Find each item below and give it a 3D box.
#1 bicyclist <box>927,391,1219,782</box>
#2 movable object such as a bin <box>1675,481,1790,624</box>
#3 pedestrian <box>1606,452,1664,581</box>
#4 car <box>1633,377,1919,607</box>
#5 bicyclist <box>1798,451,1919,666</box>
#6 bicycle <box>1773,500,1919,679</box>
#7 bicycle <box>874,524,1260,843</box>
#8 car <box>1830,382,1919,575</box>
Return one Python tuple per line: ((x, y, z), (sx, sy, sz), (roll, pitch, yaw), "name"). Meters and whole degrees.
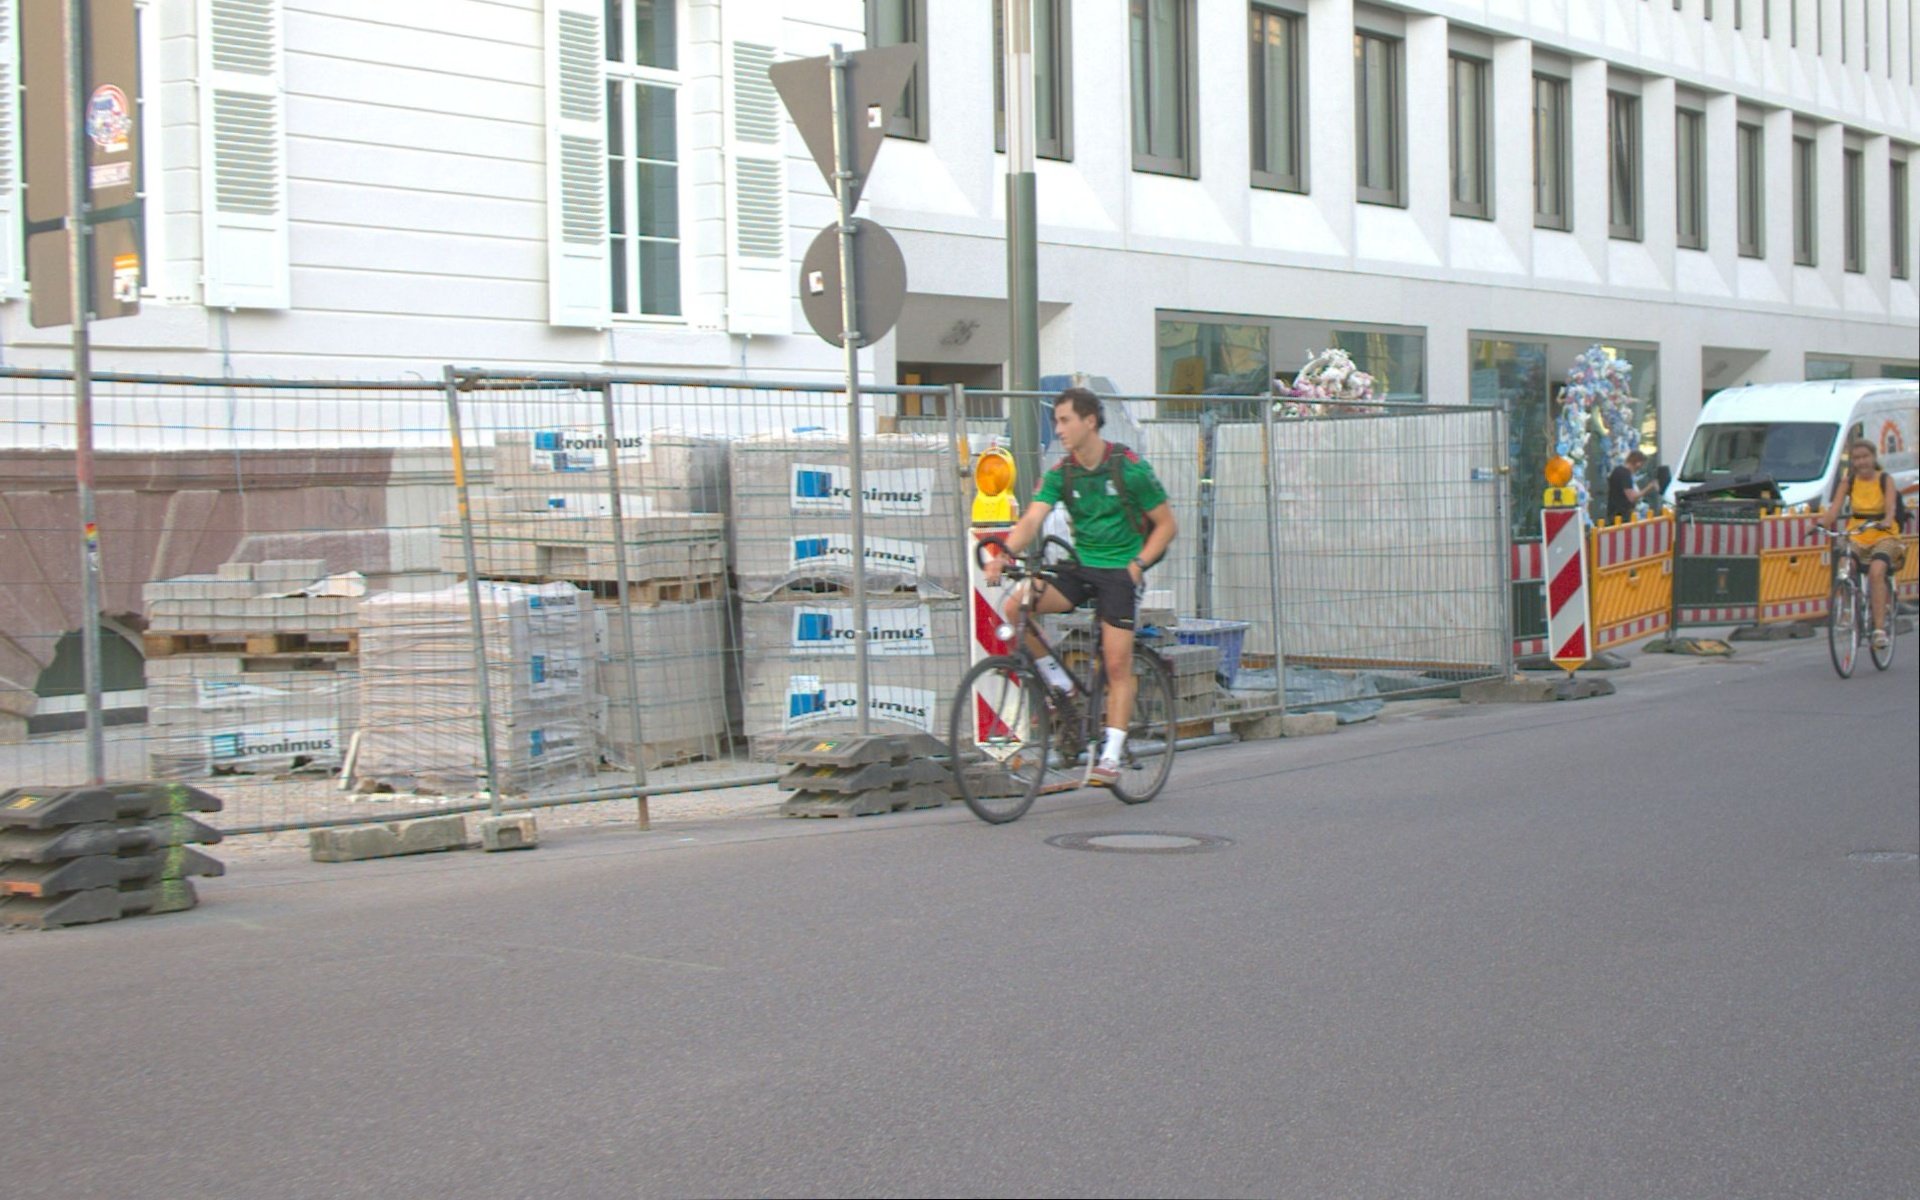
((0.503, -0.081, 14.778), (0.797, 1.597, 1.229), (0, 2, 26), "bicyclist")
((8.174, -0.516, 36.347), (1.044, 1.461, 1.393), (0, 2, 19), "movable object such as a bin")
((8.249, -1.022, 42.009), (0.543, 1.572, 0.578), (0, 2, 29), "pedestrian")
((9.916, -1.292, 40.061), (2.177, 2.461, 5.989), (1, 3, 31), "car")
((6.645, -0.316, 25.102), (0.797, 1.527, 0.973), (0, 2, 28), "bicyclist")
((6.617, -0.106, 25.091), (0.797, 1.213, 2.230), (0, 2, 28), "bicycle")
((0.506, 0.308, 14.789), (0.797, 1.213, 2.230), (0, 2, 26), "bicycle")
((13.701, -1.673, 46.458), (2.177, 2.461, 5.989), (1, 3, 30), "car")
